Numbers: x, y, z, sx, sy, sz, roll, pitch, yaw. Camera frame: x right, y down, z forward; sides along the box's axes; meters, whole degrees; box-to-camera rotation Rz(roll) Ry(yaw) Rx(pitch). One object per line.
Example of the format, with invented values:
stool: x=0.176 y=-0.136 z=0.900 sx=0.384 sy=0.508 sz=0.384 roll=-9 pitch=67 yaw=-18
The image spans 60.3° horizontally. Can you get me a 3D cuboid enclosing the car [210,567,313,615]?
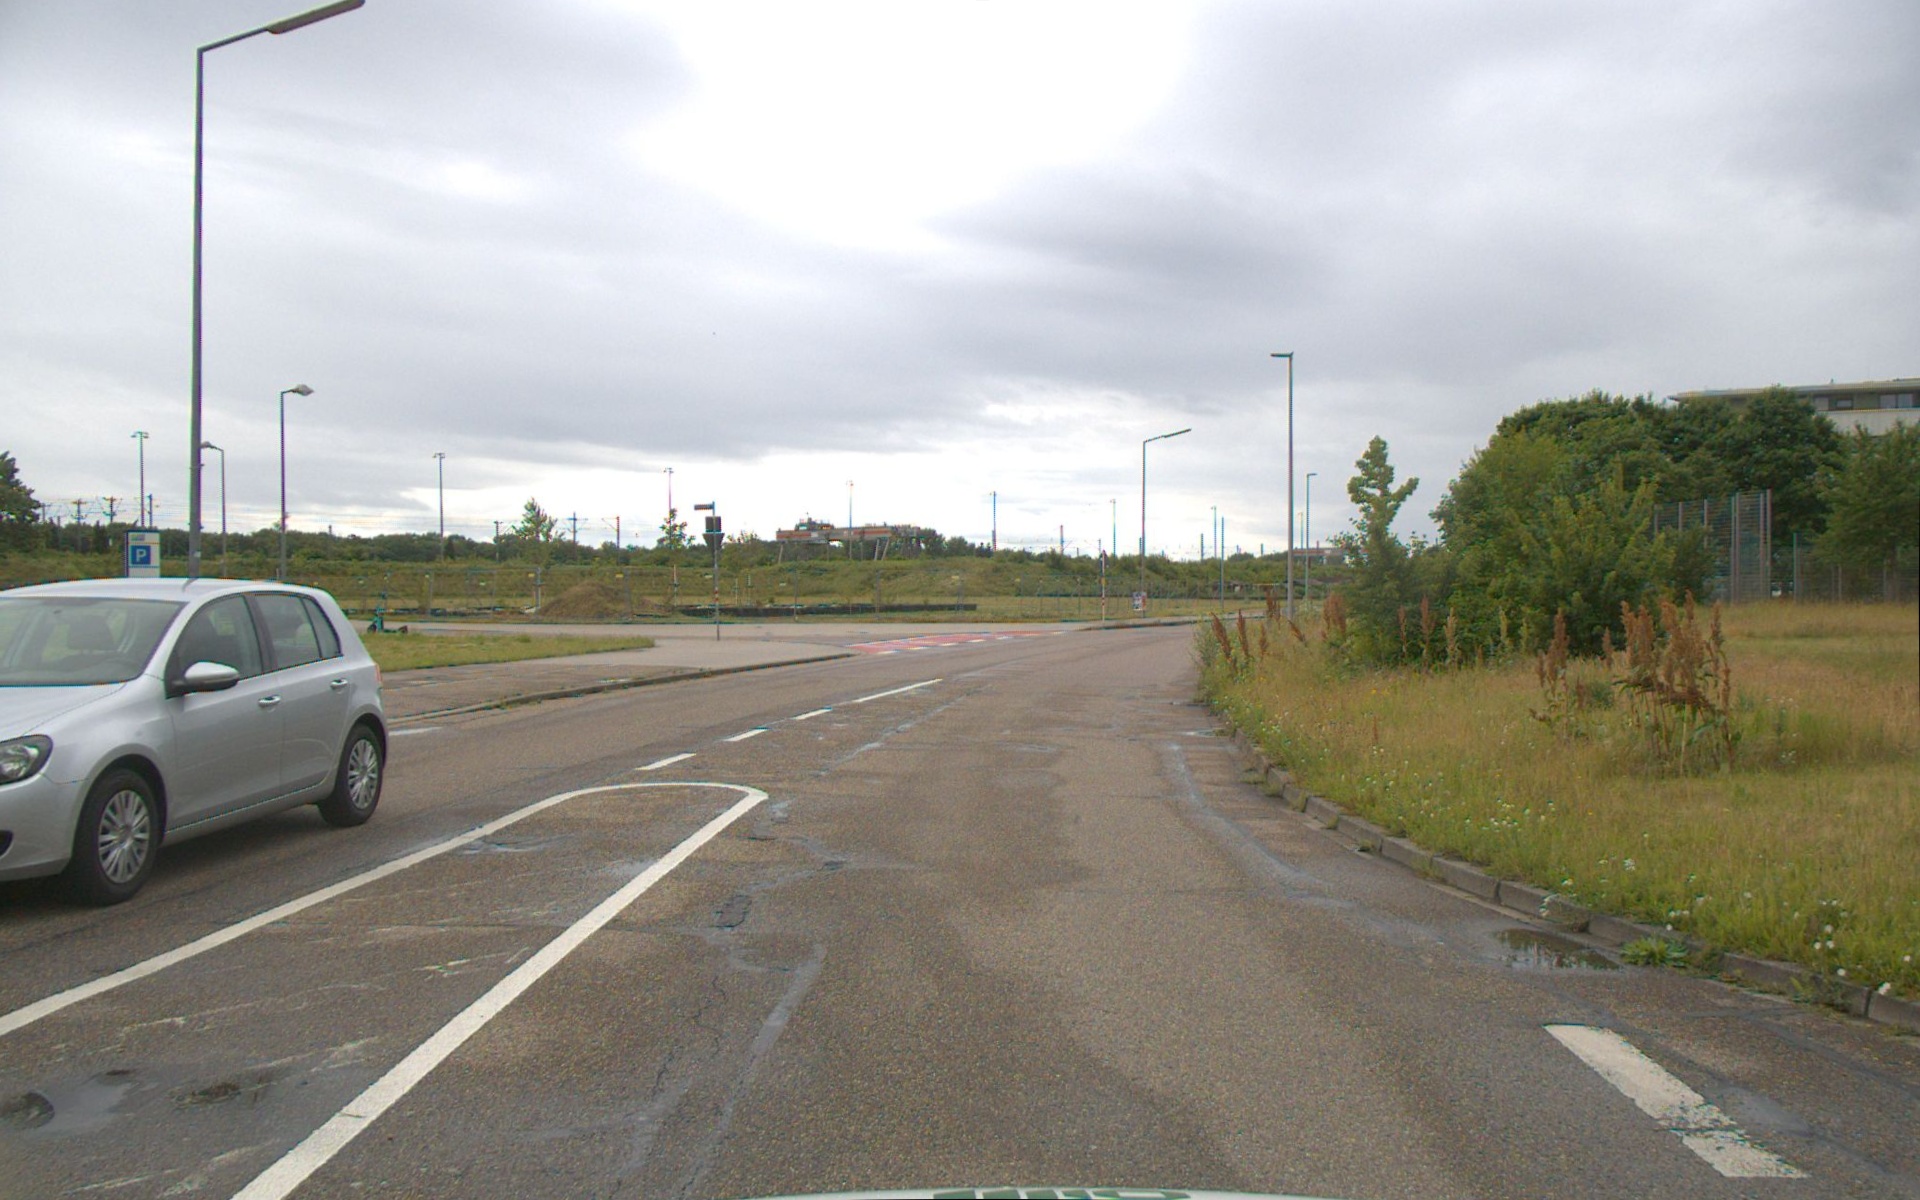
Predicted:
car: x=-28.148 y=-0.376 z=66.658 sx=3.916 sy=1.854 sz=1.995 roll=0 pitch=1 yaw=33

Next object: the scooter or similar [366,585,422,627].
scooter or similar: x=-16.541 y=0.163 z=48.346 sx=1.431 sy=1.188 sz=0.572 roll=1 pitch=0 yaw=6

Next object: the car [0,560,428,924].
car: x=-4.476 y=0.552 z=8.904 sx=1.637 sy=1.487 sz=4.058 roll=2 pitch=1 yaw=4

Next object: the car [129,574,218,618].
car: x=-32.984 y=-0.169 z=69.324 sx=3.600 sy=1.783 sz=1.800 roll=0 pitch=1 yaw=34
